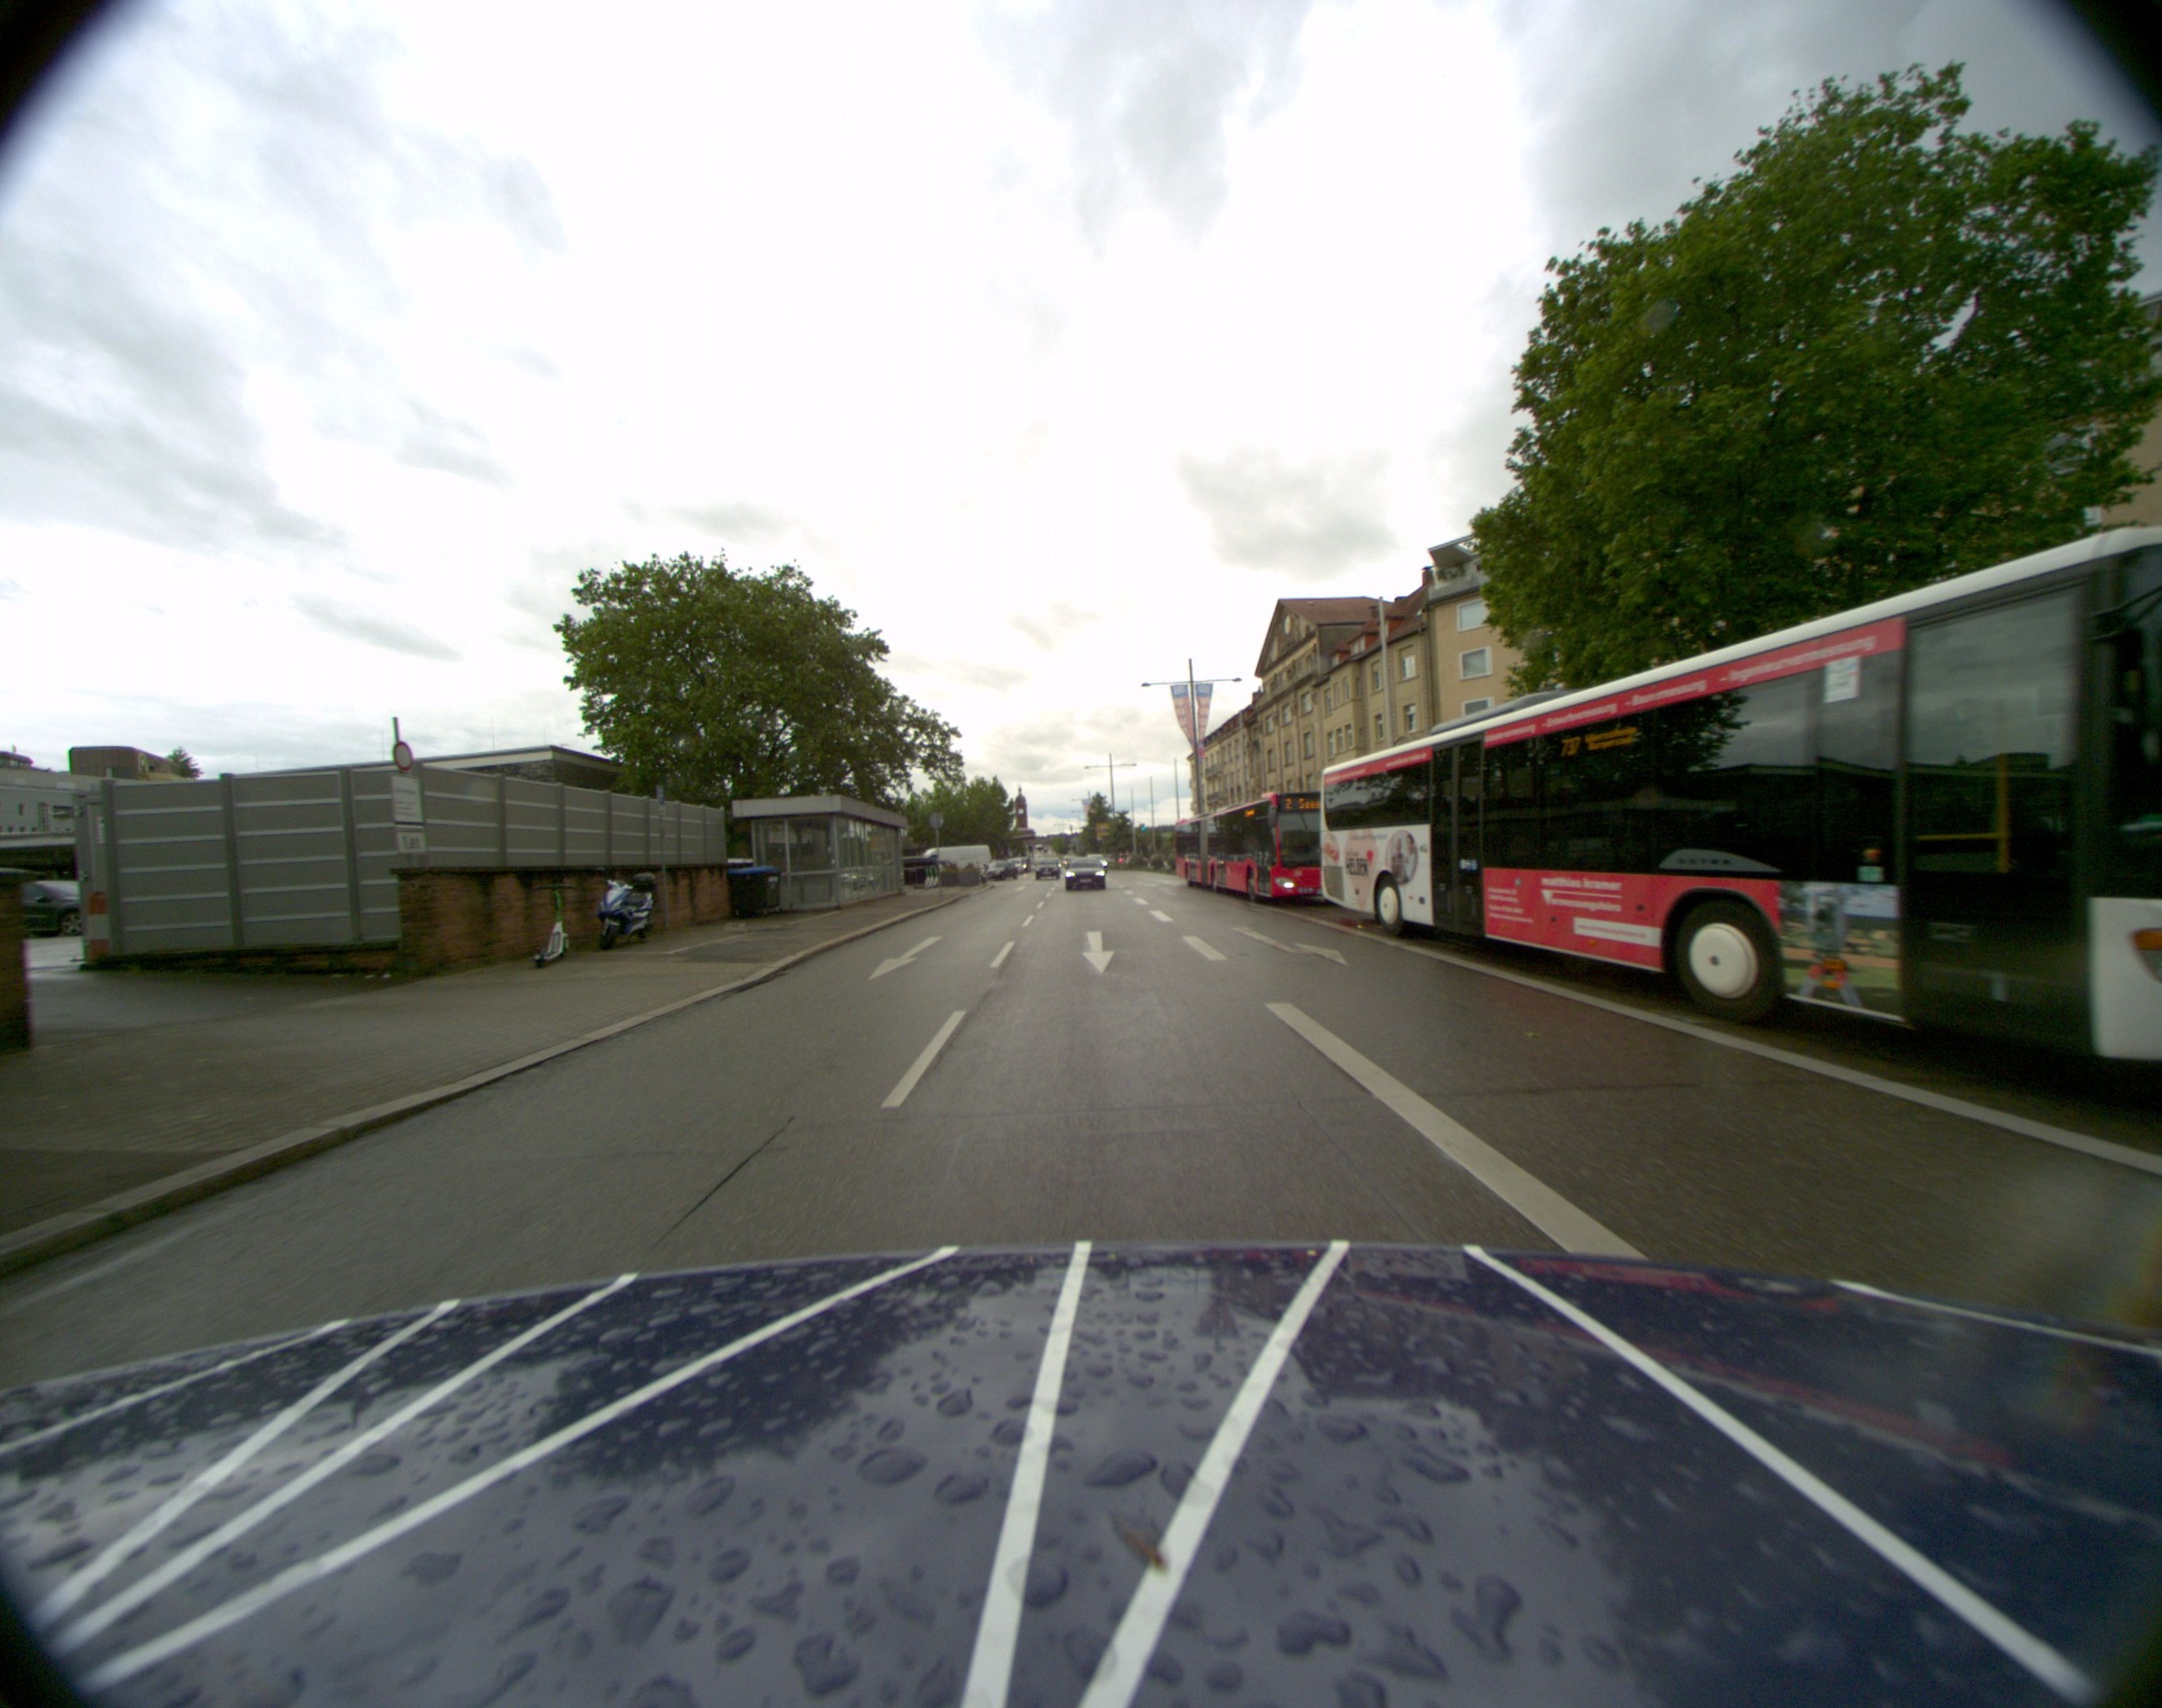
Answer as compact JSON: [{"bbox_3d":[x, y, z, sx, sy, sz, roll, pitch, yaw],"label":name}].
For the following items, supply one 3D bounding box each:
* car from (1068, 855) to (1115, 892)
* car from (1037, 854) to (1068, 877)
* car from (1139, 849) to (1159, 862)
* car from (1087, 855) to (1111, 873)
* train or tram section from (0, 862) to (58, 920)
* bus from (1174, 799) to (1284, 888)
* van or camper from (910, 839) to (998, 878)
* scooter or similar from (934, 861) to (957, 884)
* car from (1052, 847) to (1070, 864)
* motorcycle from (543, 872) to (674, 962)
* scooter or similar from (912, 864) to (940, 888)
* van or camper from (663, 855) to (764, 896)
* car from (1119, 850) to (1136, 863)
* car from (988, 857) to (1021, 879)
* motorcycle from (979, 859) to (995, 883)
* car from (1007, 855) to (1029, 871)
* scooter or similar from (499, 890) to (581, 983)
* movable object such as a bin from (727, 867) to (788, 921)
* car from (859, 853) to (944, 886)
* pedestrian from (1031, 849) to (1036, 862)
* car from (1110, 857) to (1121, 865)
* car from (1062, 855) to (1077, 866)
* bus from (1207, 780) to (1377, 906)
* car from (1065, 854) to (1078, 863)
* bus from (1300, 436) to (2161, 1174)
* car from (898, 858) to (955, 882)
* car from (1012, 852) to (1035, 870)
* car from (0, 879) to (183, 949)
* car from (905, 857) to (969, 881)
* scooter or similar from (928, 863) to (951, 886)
[{"bbox_3d":[0.496,0.817,33.354,1.871,1.466,3.826,-2,0,2],"label":"car"},{"bbox_3d":[-1.975,0.794,53.607,1.871,1.466,3.826,-2,0,2],"label":"car"},{"bbox_3d":[9.132,0.208,102.629,1.999,1.670,4.100,-2,0,-4],"label":"car"},{"bbox_3d":[1.572,0.844,67.468,1.983,1.438,3.908,-1,0,0],"label":"car"},{"bbox_3d":[-68.069,2.367,43.916,2.776,3.577,11.497,-2,1,-5],"label":"train or tram section"},{"bbox_3d":[5.983,-0.407,32.572,2.817,3.227,9.912,0,1,0],"label":"bus"},{"bbox_3d":[-10.178,0.345,61.290,6.540,2.853,2.275,-2,1,-31],"label":"van or camper"},{"bbox_3d":[-7.359,1.021,41.358,0.413,1.148,1.265,-4,0,31],"label":"scooter or similar"},{"bbox_3d":[-1.885,0.170,70.532,1.620,1.477,3.669,-2,0,-2],"label":"car"},{"bbox_3d":[-8.147,1.029,13.282,0.794,1.340,2.456,-2,0,-3],"label":"motorcycle"},{"bbox_3d":[-8.343,1.174,41.012,1.067,1.149,1.667,-3,1,0],"label":"scooter or similar"},{"bbox_3d":[-19.328,1.099,40.149,4.290,1.979,2.020,-2,1,-3],"label":"van or camper"},{"bbox_3d":[7.112,0.368,116.789,1.926,1.962,4.853,-2,0,-5],"label":"car"},{"bbox_3d":[-5.474,1.002,54.934,1.871,1.466,3.826,-2,0,2],"label":"car"},{"bbox_3d":[-5.469,0.954,44.192,0.645,1.344,2.109,-2,0,0],"label":"motorcycle"},{"bbox_3d":[-6.030,0.821,72.877,1.661,1.466,3.589,-2,0,1],"label":"car"},{"bbox_3d":[-7.859,1.157,11.099,0.495,1.146,1.712,-2,1,-20],"label":"scooter or similar"},{"bbox_3d":[-8.571,1.029,20.206,1.037,1.330,1.317,-2,1,-2],"label":"movable object such as a bin"},{"bbox_3d":[-11.296,0.968,47.836,4.707,1.864,2.104,-2,0,-33],"label":"car"},{"bbox_3d":[-6.060,0.192,96.909,0.561,1.741,0.700,-1,1,4],"label":"pedestrian"},{"bbox_3d":[6.897,1.410,151.289,1.847,1.455,5.029,-2,0,-2],"label":"car"},{"bbox_3d":[-1.634,0.874,103.684,1.984,1.438,3.907,-1,0,-2],"label":"car"},{"bbox_3d":[5.976,-0.311,23.272,2.759,3.114,8.841,0,1,0],"label":"bus"},{"bbox_3d":[-1.514,0.714,120.694,1.984,1.438,3.907,-1,0,-2],"label":"car"},{"bbox_3d":[6.313,-0.281,9.704,2.963,3.419,12.556,-2,0,-2],"label":"bus"},{"bbox_3d":[-10.883,1.124,53.587,3.595,1.515,1.759,-2,0,-27],"label":"car"},{"bbox_3d":[-5.933,0.699,78.528,1.824,1.672,4.417,-2,0,2],"label":"car"},{"bbox_3d":[-30.603,1.789,22.861,4.695,1.864,2.109,-2,0,2],"label":"car"},{"bbox_3d":[-10.722,1.091,56.566,4.243,1.625,1.880,-2,0,-30],"label":"car"},{"bbox_3d":[-7.742,1.131,41.575,0.413,1.148,1.265,-4,1,31],"label":"scooter or similar"}]
